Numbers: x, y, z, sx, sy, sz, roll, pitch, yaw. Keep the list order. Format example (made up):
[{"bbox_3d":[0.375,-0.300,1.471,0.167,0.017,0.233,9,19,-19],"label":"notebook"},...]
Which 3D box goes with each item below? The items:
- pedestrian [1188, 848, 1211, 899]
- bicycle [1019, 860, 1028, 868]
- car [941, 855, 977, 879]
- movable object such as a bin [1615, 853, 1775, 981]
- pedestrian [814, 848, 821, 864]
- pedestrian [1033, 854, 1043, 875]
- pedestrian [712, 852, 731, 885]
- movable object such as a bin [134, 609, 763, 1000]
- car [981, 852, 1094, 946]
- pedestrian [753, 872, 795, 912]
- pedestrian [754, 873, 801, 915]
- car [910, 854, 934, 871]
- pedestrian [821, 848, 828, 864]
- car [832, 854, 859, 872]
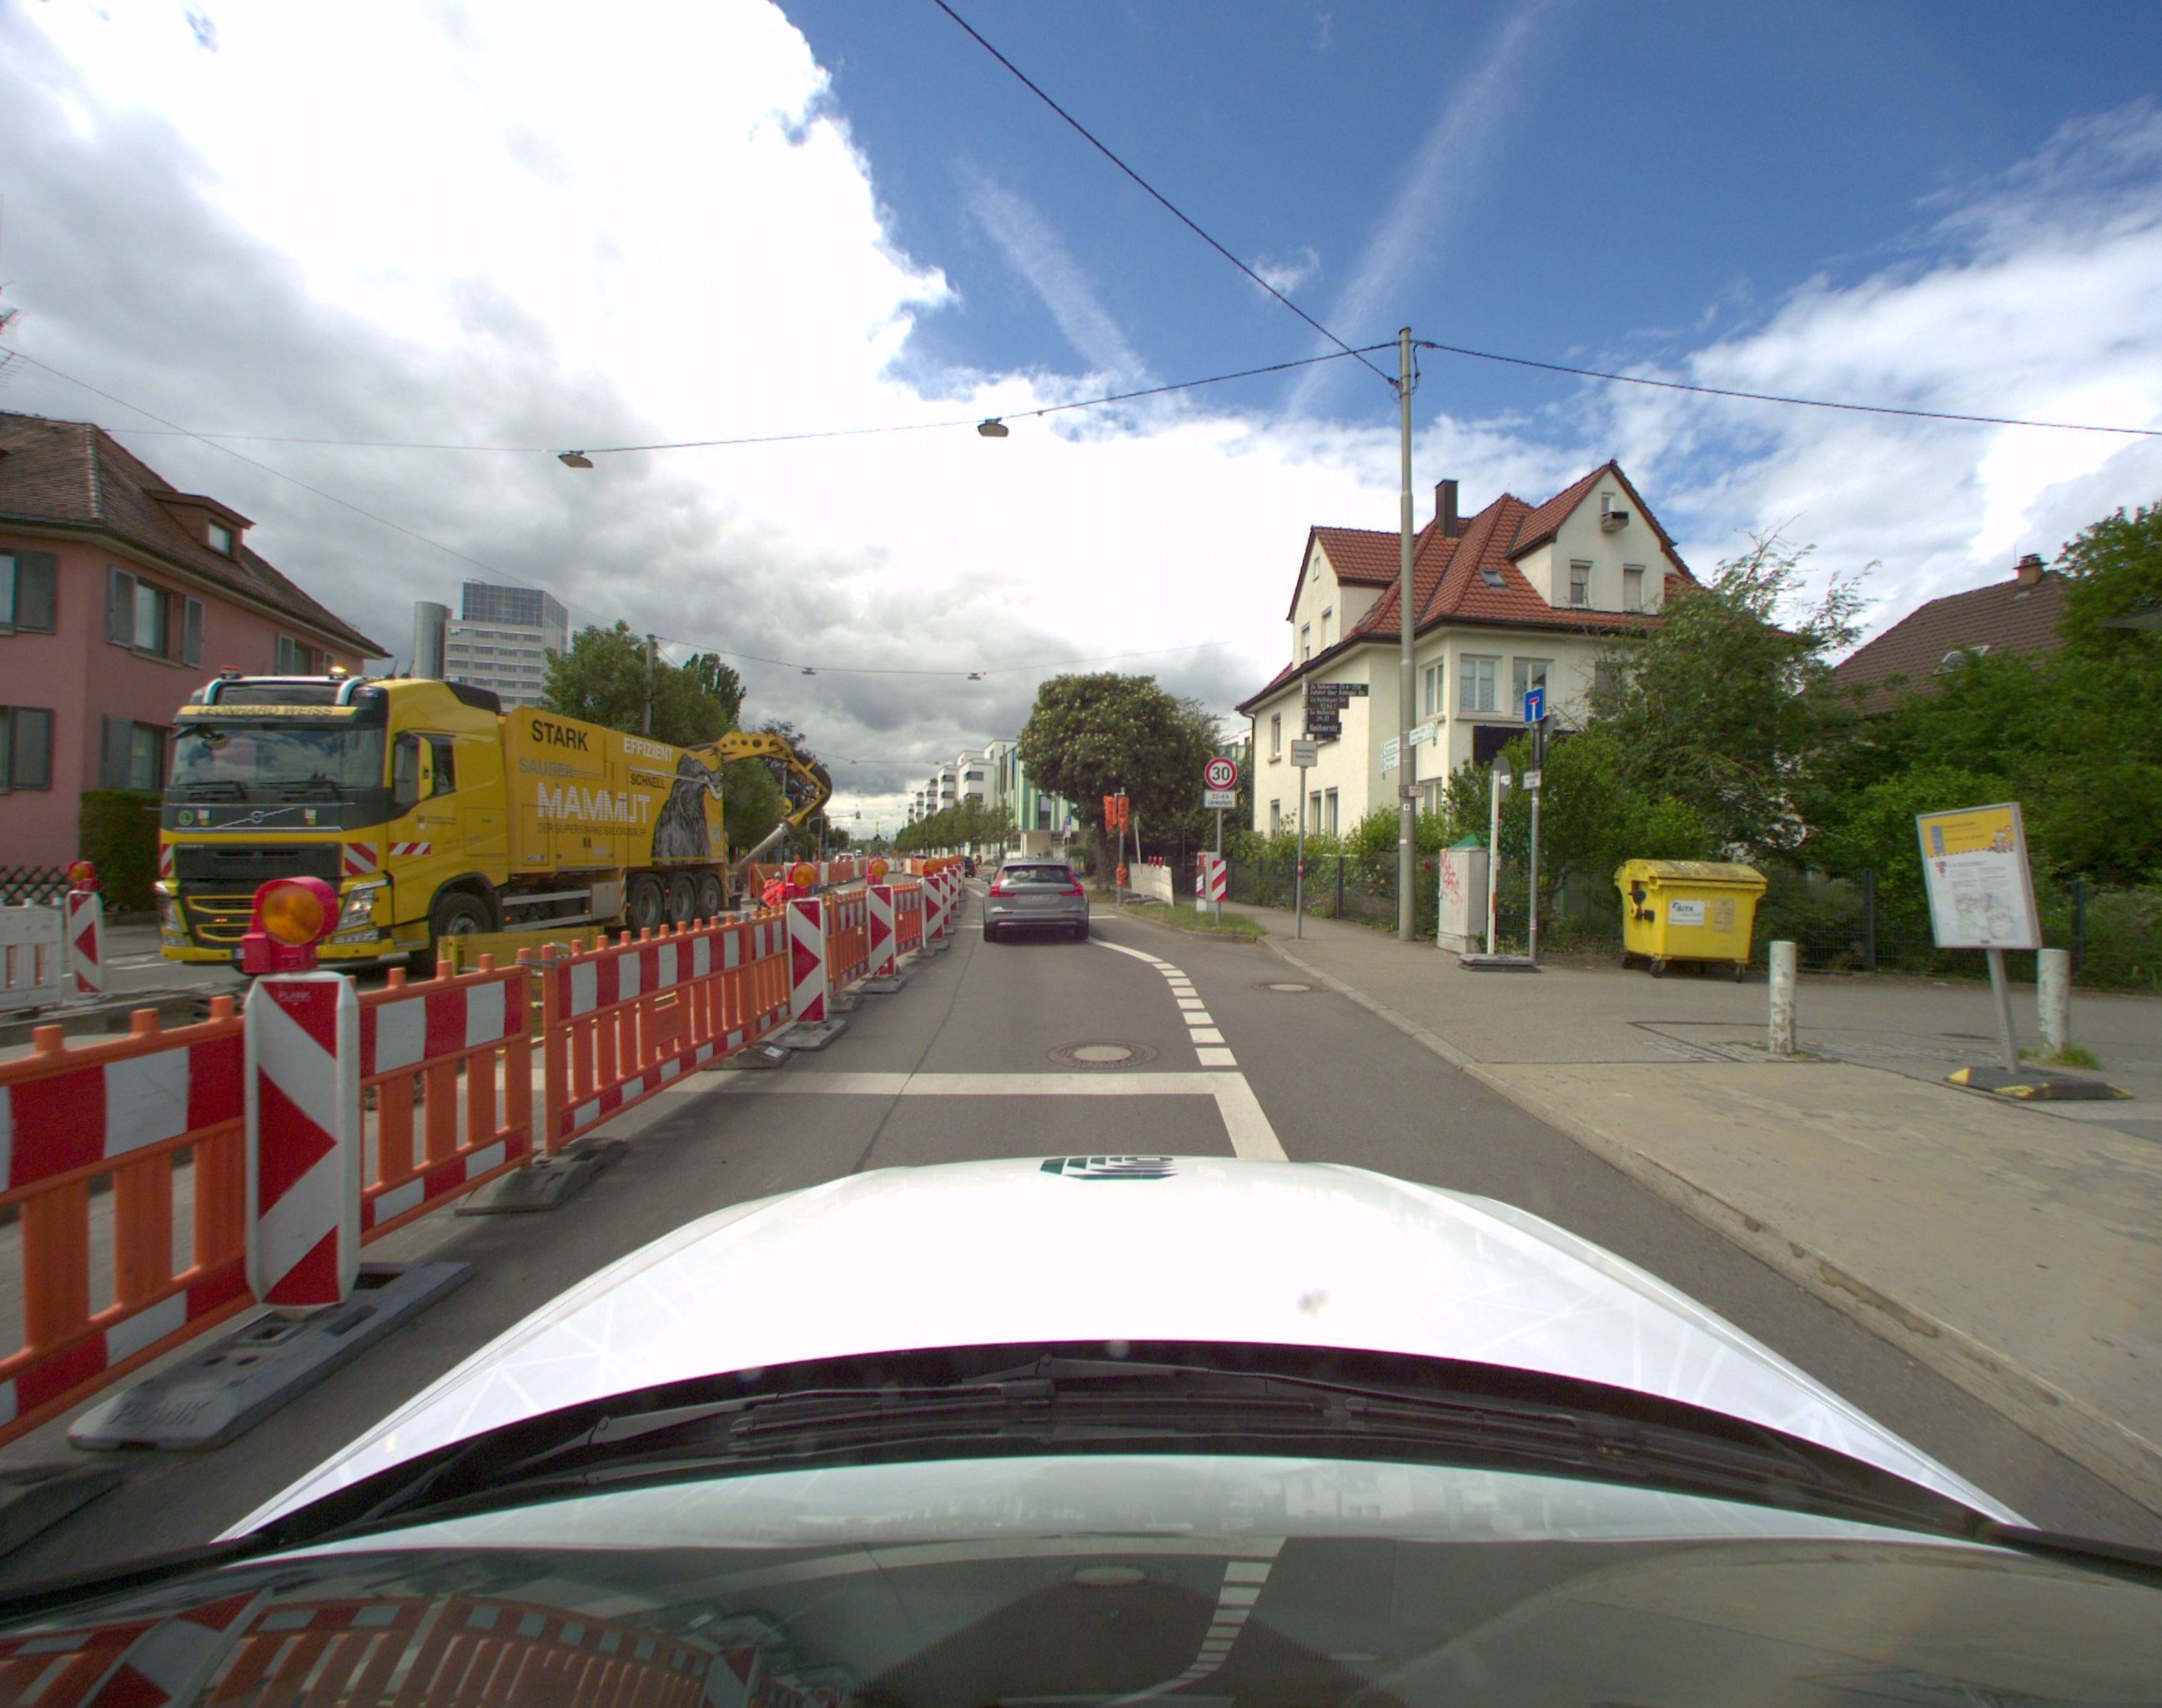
[{"bbox_3d":[3.609,0.588,24.770,0.515,1.540,0.640,0,0,27],"label":"pedestrian"},{"bbox_3d":[-5.891,1.015,83.900,0.303,0.842,1.031,0,0,42],"label":"bicycle"},{"bbox_3d":[-8.326,0.829,55.220,1.858,1.513,3.978,2,0,-16],"label":"car"},{"bbox_3d":[7.630,0.744,10.195,1.260,1.470,1.007,1,0,10],"label":"movable object such as a bin"},{"bbox_3d":[-31.634,0.252,97.718,0.683,1.854,0.703,1,-1,-16],"label":"pedestrian"},{"bbox_3d":[-3.176,0.747,60.465,0.582,1.551,0.864,0,-1,-16],"label":"pedestrian"},{"bbox_3d":[-17.516,0.686,39.686,0.754,1.603,0.825,1,0,-18],"label":"pedestrian"},{"bbox_3d":[-9.002,-0.537,14.382,2.583,4.221,11.115,0,0,-1],"label":"movable object such as a bin"},{"bbox_3d":[-0.892,0.745,15.486,1.852,1.513,3.992,-1,0,-5],"label":"car"},{"bbox_3d":[-8.026,0.984,21.297,0.635,0.991,0.797,0,0,23],"label":"pedestrian"},{"bbox_3d":[-7.549,0.987,20.293,0.785,0.991,0.815,0,0,12],"label":"pedestrian"},{"bbox_3d":[-15.561,0.810,79.561,1.849,1.513,3.978,2,0,-16],"label":"car"},{"bbox_3d":[-30.883,0.273,98.051,0.683,1.854,0.887,1,-1,-16],"label":"pedestrian"},{"bbox_3d":[-19.648,0.745,68.066,1.857,1.453,3.982,2,0,-13],"label":"car"}]
